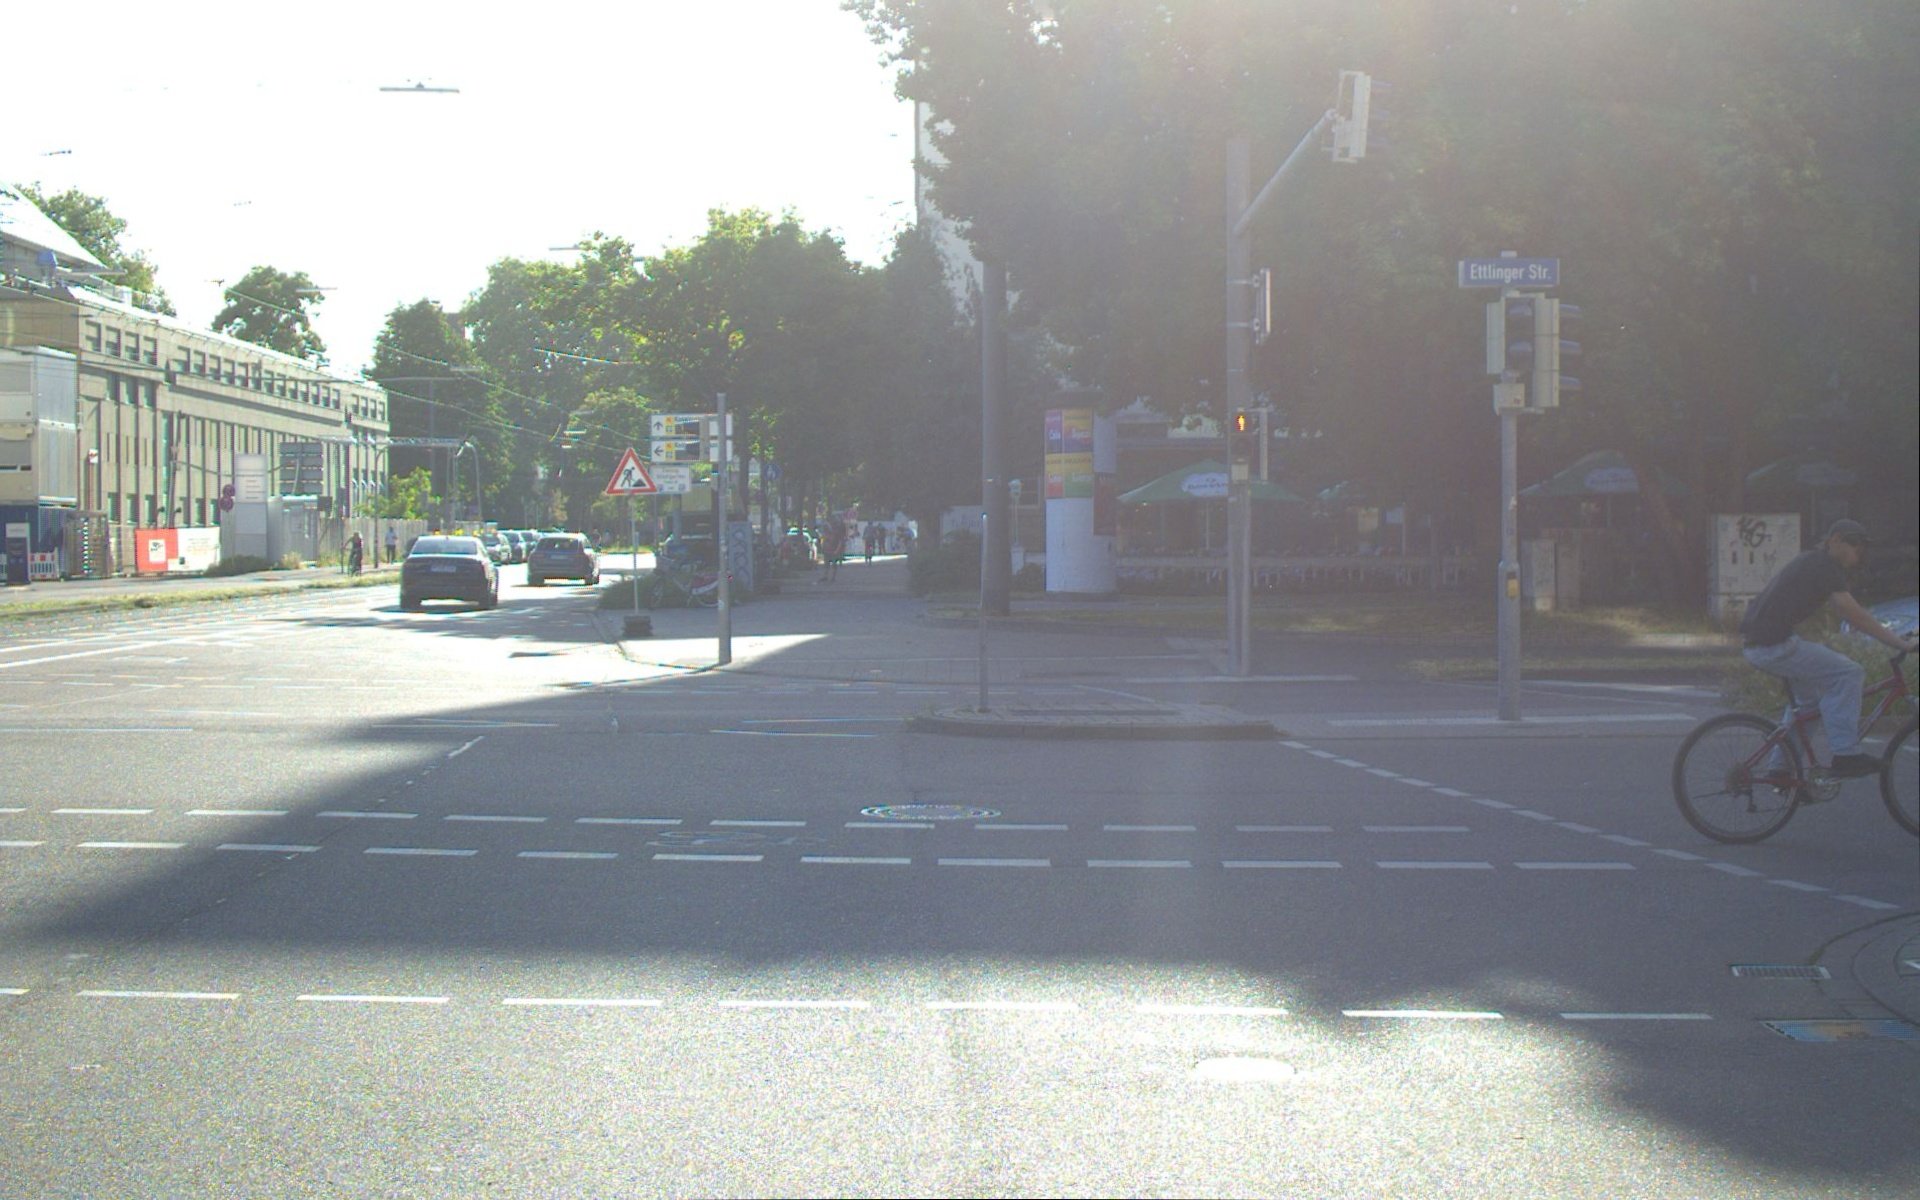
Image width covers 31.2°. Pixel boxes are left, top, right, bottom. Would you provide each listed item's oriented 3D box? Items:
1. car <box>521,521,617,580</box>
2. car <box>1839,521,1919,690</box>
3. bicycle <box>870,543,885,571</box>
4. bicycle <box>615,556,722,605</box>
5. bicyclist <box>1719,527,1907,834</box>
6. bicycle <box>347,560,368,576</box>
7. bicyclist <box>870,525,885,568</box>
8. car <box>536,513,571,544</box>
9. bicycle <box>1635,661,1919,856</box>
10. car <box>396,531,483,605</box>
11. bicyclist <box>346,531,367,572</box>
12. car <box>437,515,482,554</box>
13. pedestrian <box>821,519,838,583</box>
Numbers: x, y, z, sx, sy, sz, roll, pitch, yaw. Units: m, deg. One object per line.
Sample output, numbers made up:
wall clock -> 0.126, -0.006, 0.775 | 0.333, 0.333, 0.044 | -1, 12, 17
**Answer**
car -> -11.207, -1.436, 98.866 | 1.892, 1.560, 4.807 | 3, 1, 3
car -> 10.759, 0.022, 33.415 | 3.993, 1.605, 1.650 | -1, 1, -1
bicycle -> -3.249, -1.709, 135.646 | 0.575, 1.073, 1.831 | 0, 1, -1
bicycle -> -5.726, -0.383, 67.484 | 2.018, 0.888, 0.650 | -2, 0, 27
bicyclist -> 4.306, 0.392, 17.382 | 0.762, 1.519, 0.606 | 0, 1, -5
bicycle -> -20.140, -1.078, 114.854 | 0.501, 0.513, 1.258 | 1, 1, -1
bicyclist -> -3.254, -2.113, 135.658 | 0.569, 1.685, 0.700 | 0, 1, -1
car -> -23.014, -4.029, 194.694 | 1.692, 1.712, 4.248 | 1, 1, -4
bicycle -> 4.404, 0.791, 17.396 | 1.857, 0.932, 0.560 | -1, 1, -5
car -> -10.652, -0.670, 70.192 | 1.659, 1.450, 4.433 | 0, 1, -10
bicyclist -> -20.158, -1.627, 114.878 | 0.596, 1.372, 0.638 | 1, 0, -2
car -> -22.774, -2.964, 156.448 | 1.692, 1.712, 4.248 | 1, 1, -4
pedestrian -> -3.711, -1.400, 97.719 | 0.463, 1.807, 0.503 | 0, 1, -5
